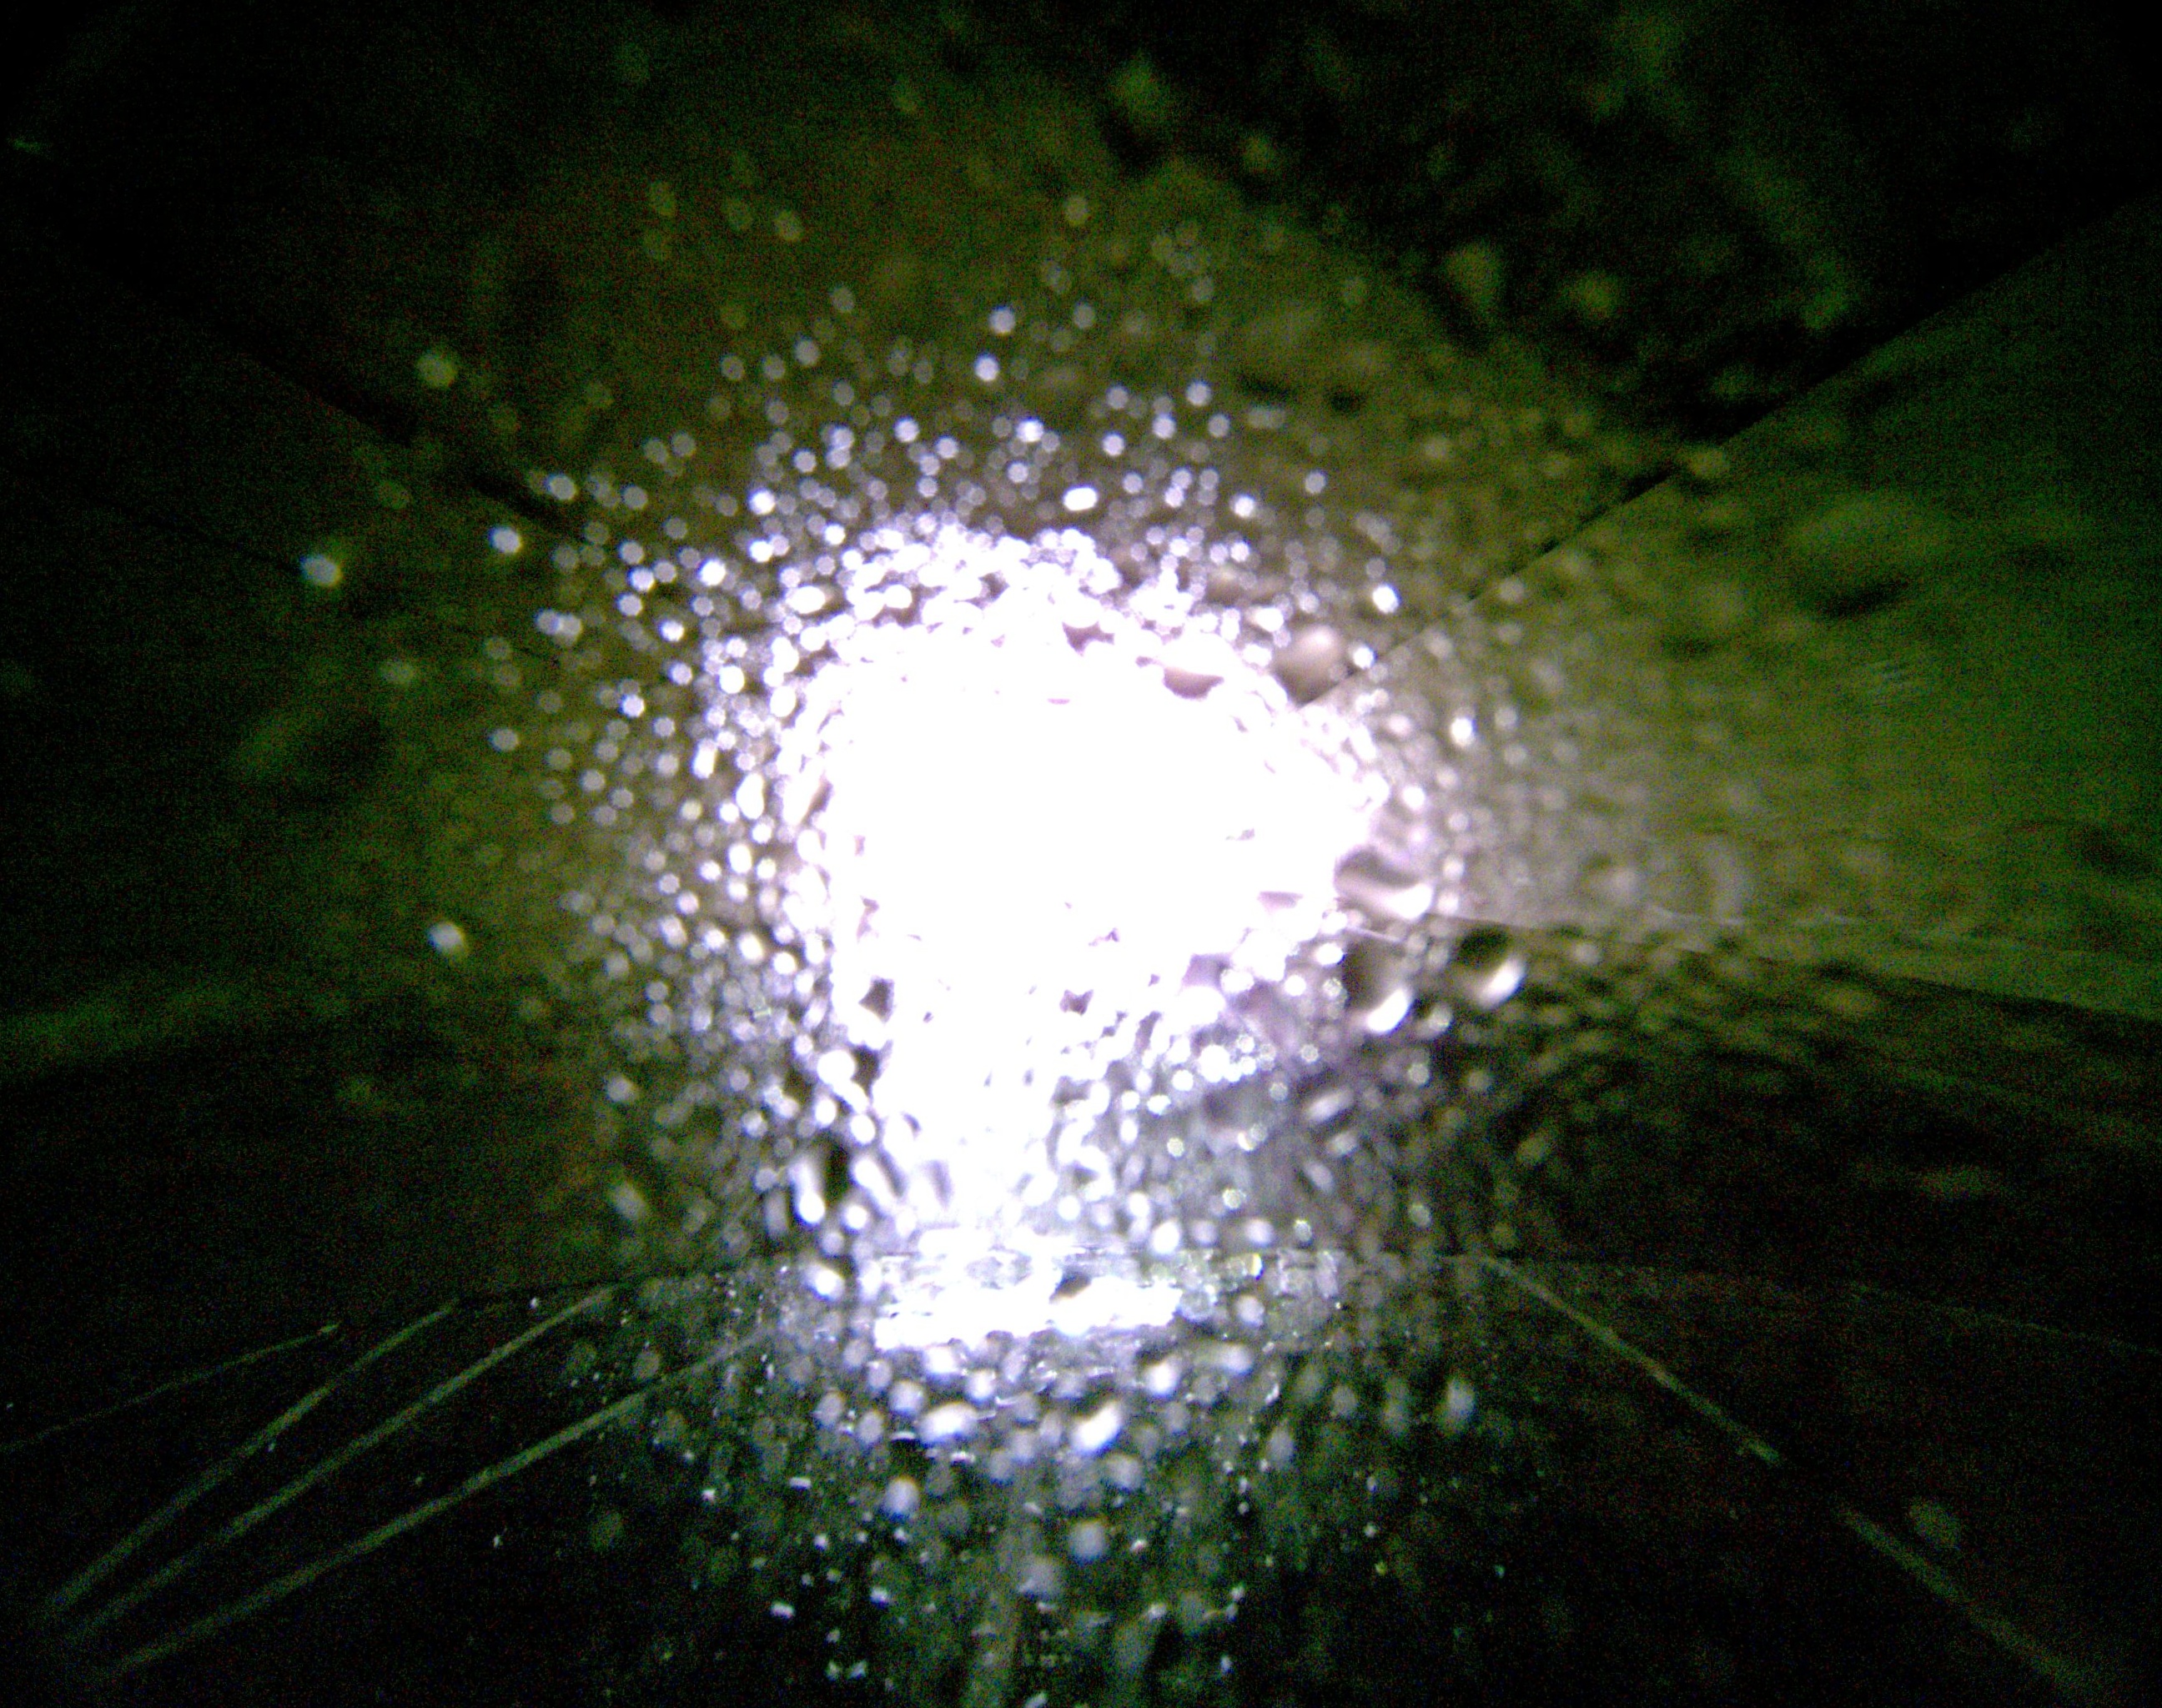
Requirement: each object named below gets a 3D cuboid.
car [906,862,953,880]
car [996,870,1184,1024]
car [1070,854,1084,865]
[{"bbox_3d":[-14.034,1.564,70.390,3.863,1.523,1.715,-3,0,-34],"label":"car"},{"bbox_3d":[0.019,0.944,9.628,1.767,1.316,4.548,-2,0,-2],"label":"car"},{"bbox_3d":[-0.532,0.696,104.052,1.695,1.478,4.071,-1,0,-4],"label":"car"}]
